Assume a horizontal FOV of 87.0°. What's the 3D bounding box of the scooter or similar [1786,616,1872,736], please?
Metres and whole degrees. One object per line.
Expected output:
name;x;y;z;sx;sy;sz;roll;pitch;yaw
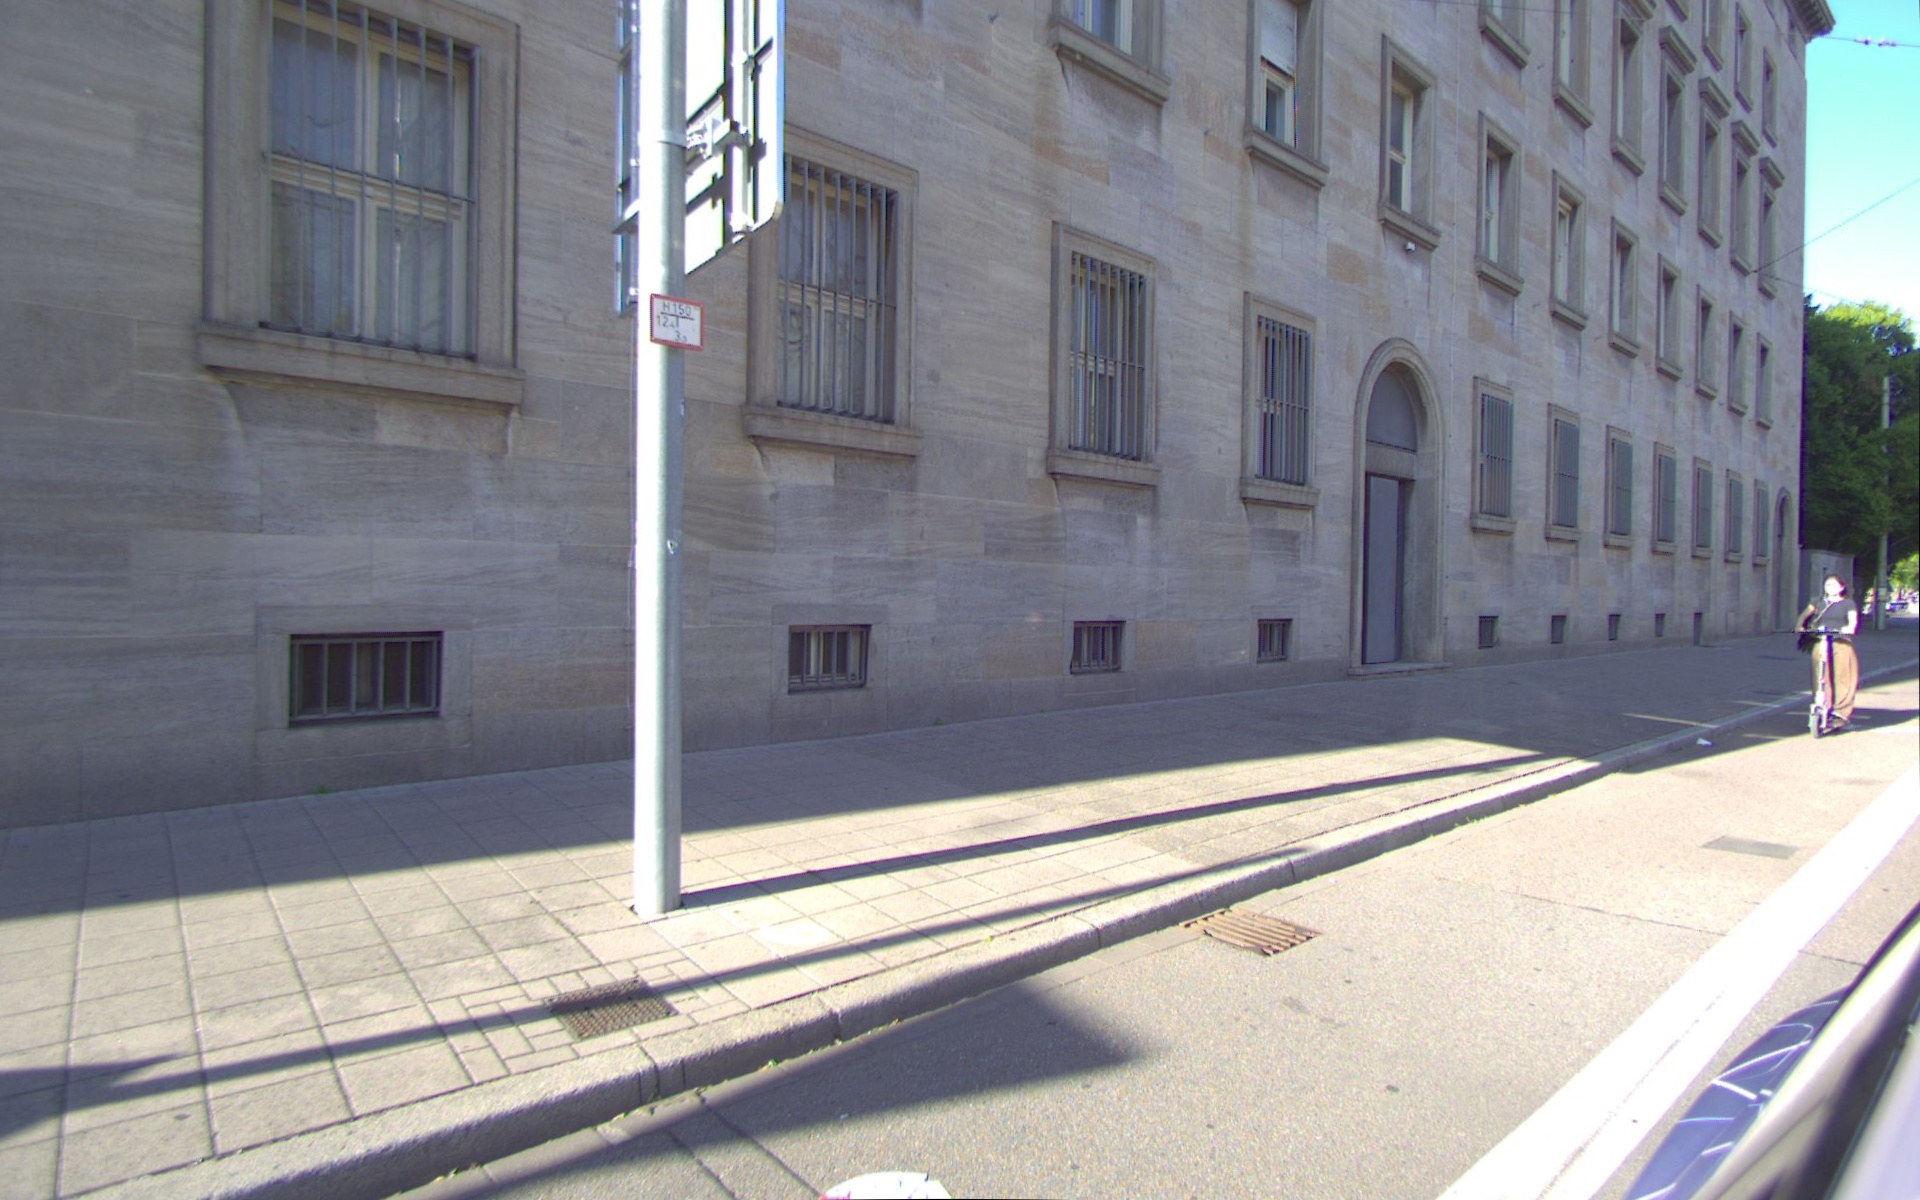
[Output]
scooter or similar;9.575;0.798;11.136;1.305;1.200;0.535;0;1;-42

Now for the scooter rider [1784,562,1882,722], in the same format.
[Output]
scooter rider;9.627;0.433;11.167;0.547;1.692;0.730;0;1;-41
